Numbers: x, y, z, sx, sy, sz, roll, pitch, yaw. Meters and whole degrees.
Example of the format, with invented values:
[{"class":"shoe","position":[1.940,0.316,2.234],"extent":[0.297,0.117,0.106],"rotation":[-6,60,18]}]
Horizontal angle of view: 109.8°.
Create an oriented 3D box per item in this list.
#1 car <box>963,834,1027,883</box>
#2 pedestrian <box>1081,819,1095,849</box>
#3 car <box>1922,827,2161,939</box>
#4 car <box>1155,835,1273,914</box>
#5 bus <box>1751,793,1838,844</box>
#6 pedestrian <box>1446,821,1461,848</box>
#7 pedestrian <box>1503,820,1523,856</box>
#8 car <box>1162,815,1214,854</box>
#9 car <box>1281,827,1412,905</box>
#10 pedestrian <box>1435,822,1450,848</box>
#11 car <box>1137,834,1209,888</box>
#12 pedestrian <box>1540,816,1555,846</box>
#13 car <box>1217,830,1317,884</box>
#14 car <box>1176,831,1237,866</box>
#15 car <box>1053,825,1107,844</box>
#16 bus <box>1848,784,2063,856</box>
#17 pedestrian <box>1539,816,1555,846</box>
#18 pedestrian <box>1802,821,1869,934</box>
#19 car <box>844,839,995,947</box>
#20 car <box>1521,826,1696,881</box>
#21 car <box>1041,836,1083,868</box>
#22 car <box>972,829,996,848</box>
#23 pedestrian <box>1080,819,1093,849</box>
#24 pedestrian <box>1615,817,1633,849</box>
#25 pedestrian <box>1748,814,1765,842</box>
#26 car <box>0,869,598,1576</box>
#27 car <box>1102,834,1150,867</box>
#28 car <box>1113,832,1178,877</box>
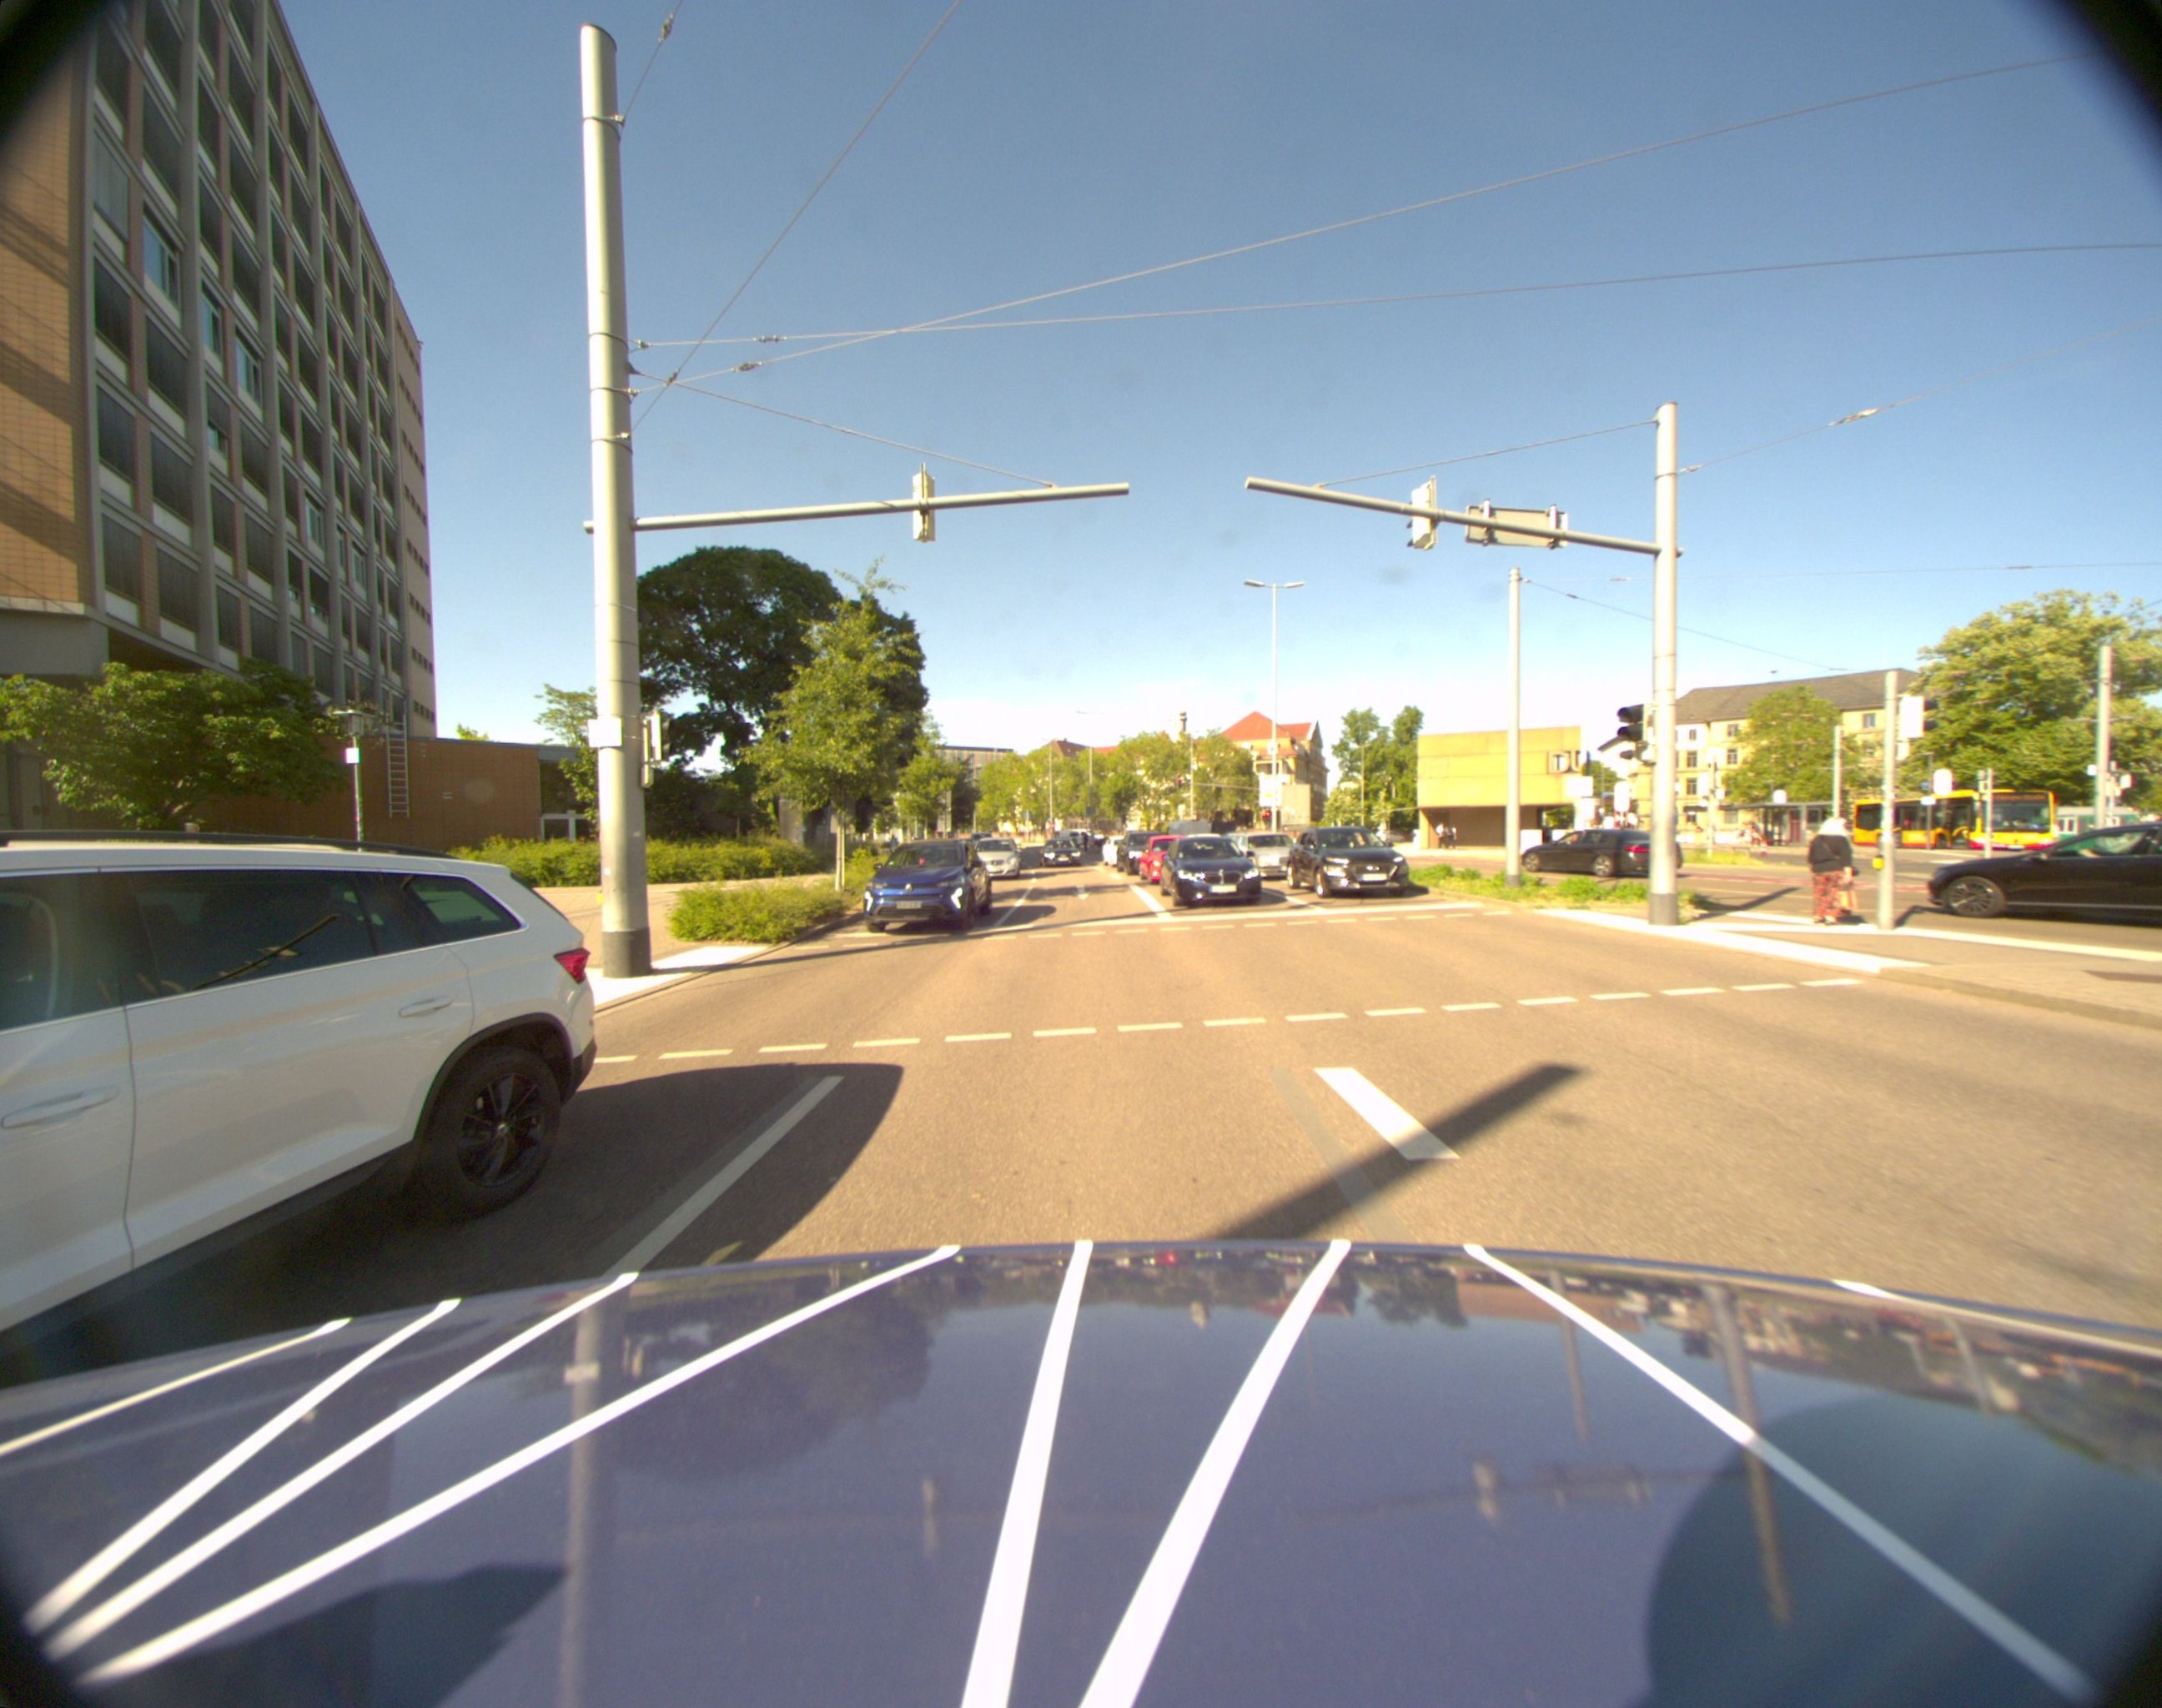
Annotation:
[{"class":"car","position":[-3.194,0.112,28.977],"extent":[1.886,1.621,4.011],"rotation":[-2,2,0]},{"class":"pedestrian","position":[0.572,-1.604,61.672],"extent":[0.875,2.407,0.889],"rotation":[-3,2,-6]},{"class":"car","position":[14.751,0.358,10.131],"extent":[1.852,1.408,4.476],"rotation":[-1,2,-8]},{"class":"car","position":[2.800,0.359,16.901],"extent":[1.886,1.450,4.011],"rotation":[-2,2,0]},{"class":"bus","position":[46.958,-2.279,50.276],"extent":[2.135,3.029,8.572],"rotation":[-1,1,29]},{"class":"pedestrian","position":[23.885,-1.231,48.704],"extent":[0.643,1.703,0.703],"rotation":[0,3,41]},{"class":"pedestrian","position":[22.663,-0.837,39.867],"extent":[0.857,1.819,0.703],"rotation":[-1,3,35]},{"class":"car","position":[7.840,-1.431,56.083],"extent":[2.244,2.666,5.300],"rotation":[-3,2,-9]},{"class":"car","position":[5.941,0.187,17.460],"extent":[1.686,1.523,3.914],"rotation":[-2,2,1]},{"class":"pedestrian","position":[23.649,-1.253,49.698],"extent":[0.748,1.703,0.703],"rotation":[0,3,41]},{"class":"car","position":[2.792,0.149,23.829],"extent":[1.713,1.450,4.011],"rotation":[-2,2,-1]},{"class":"pedestrian","position":[32.994,-1.626,53.695],"extent":[0.857,2.064,0.611],"rotation":[-1,3,35]},{"class":"car","position":[5.715,0.022,23.952],"extent":[1.825,1.450,4.658],"rotation":[-3,2,-2]},{"class":"car","position":[5.717,-0.297,35.131],"extent":[1.825,1.450,4.658],"rotation":[-3,2,-2]},{"class":"car","position":[-0.123,-2.126,81.517],"extent":[5.223,1.793,2.414],"rotation":[-1,2,34]},{"class":"bus","position":[44.796,-1.916,39.653],"extent":[2.843,3.105,11.833],"rotation":[-1,3,26]},{"class":"pedestrian","position":[32.450,-1.580,52.879],"extent":[0.857,2.064,0.611],"rotation":[-1,3,35]},{"class":"pedestrian","position":[10.728,0.319,10.819],"extent":[0.372,1.547,0.644],"rotation":[-2,2,8]},{"class":"car","position":[-2.818,0.589,14.237],"extent":[1.886,1.621,4.011],"rotation":[-2,2,0]},{"class":"car","position":[15.955,-0.083,23.351],"extent":[1.887,1.450,4.641],"rotation":[-2,2,-5]},{"class":"car","position":[-1.016,-0.135,38.765],"extent":[1.921,1.450,3.863],"rotation":[-3,2,-3]},{"class":"car","position":[-8.144,-1.331,63.805],"extent":[1.922,1.450,4.664],"rotation":[-3,2,-7]},{"class":"pedestrian","position":[0.480,-1.630,62.711],"extent":[0.875,2.422,0.889],"rotation":[-3,2,-6]},{"class":"pedestrian","position":[33.143,-1.285,46.396],"extent":[0.857,1.870,0.694],"rotation":[-1,3,35]},{"class":"pedestrian","position":[45.911,-1.795,51.646],"extent":[0.689,1.851,0.730],"rotation":[-1,3,31]},{"class":"car","position":[-3.547,0.945,1.784],"extent":[1.868,1.635,4.397],"rotation":[-2,0,1]},{"class":"car","position":[2.137,-0.224,37.112],"extent":[1.760,1.447,4.118],"rotation":[-3,2,-5]},{"class":"car","position":[2.407,-0.041,29.340],"extent":[1.760,1.526,4.118],"rotation":[-3,2,-5]}]
